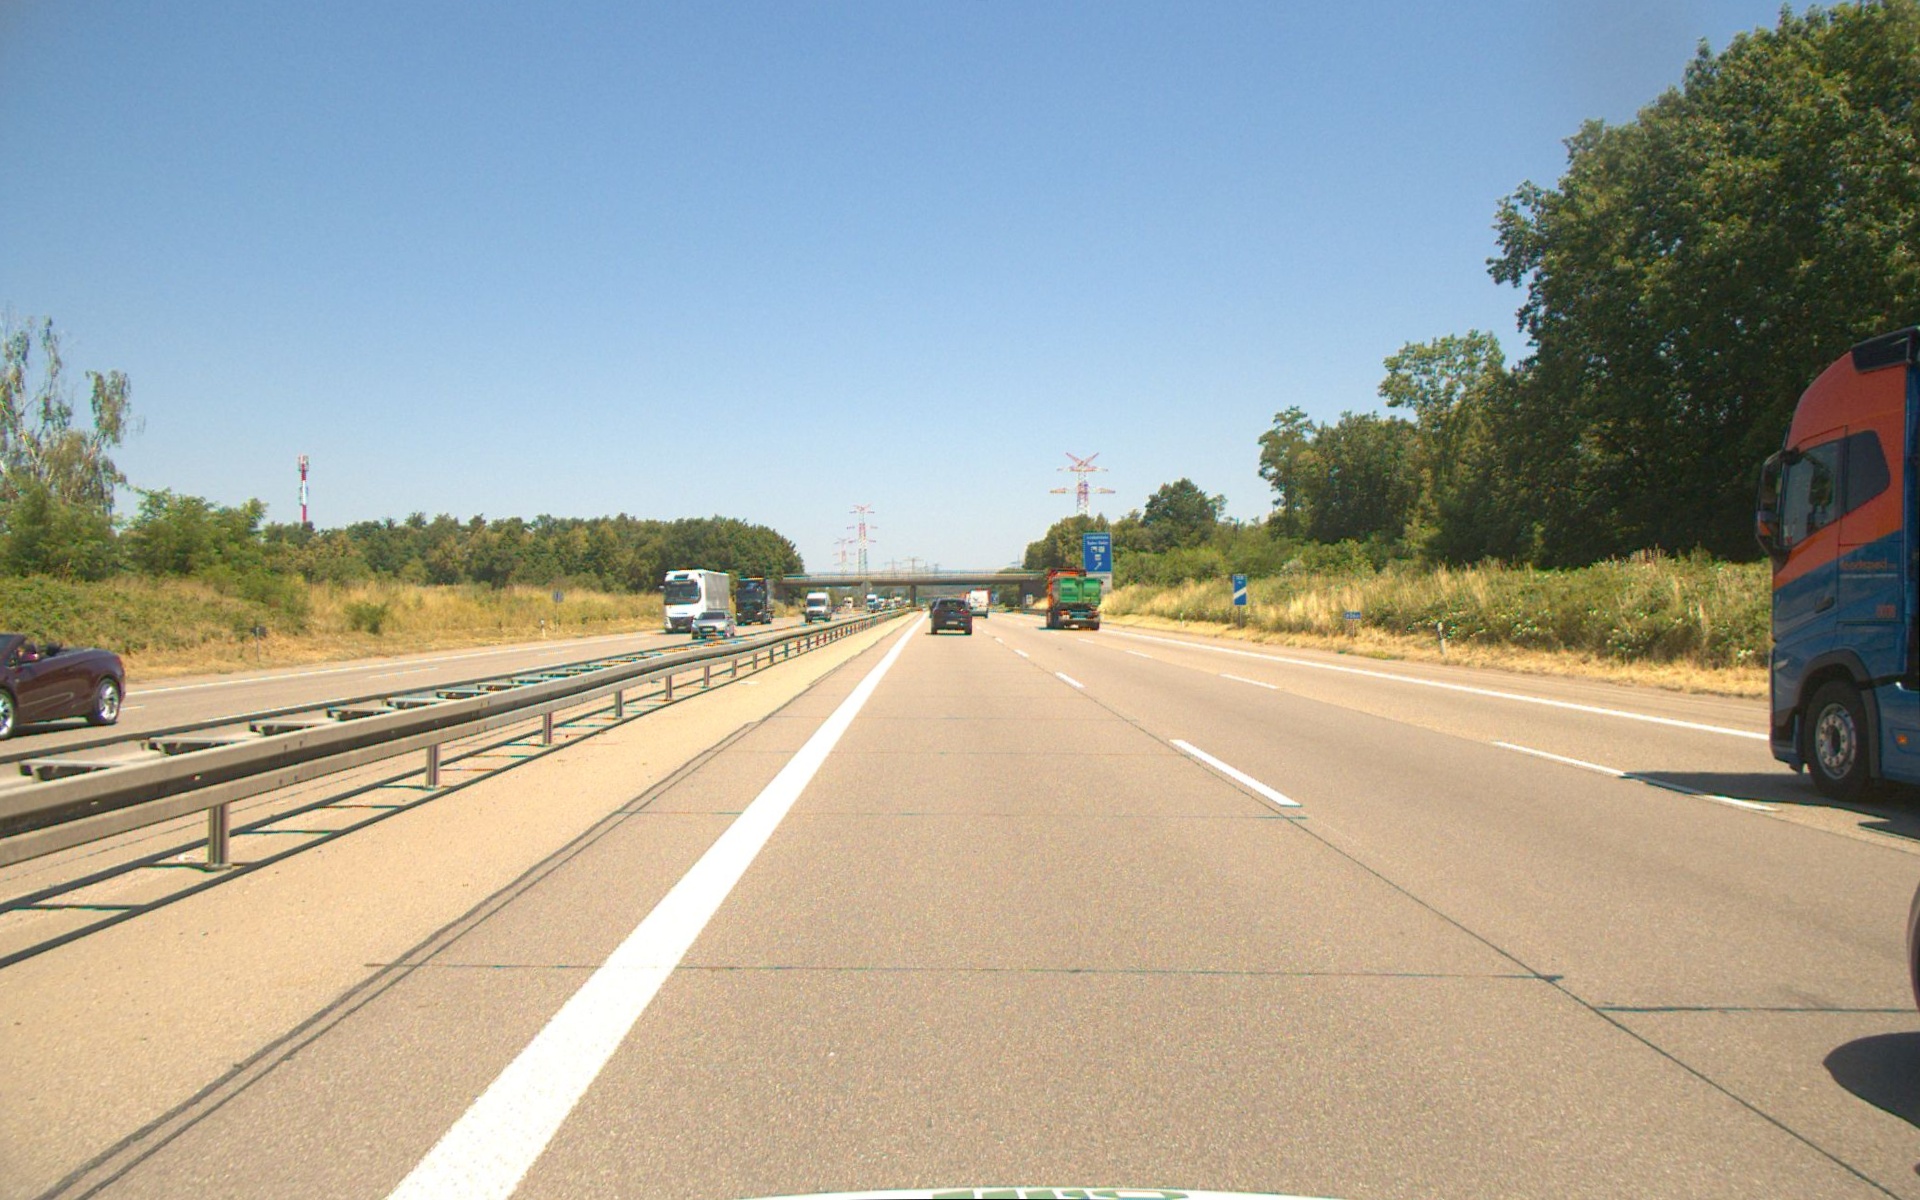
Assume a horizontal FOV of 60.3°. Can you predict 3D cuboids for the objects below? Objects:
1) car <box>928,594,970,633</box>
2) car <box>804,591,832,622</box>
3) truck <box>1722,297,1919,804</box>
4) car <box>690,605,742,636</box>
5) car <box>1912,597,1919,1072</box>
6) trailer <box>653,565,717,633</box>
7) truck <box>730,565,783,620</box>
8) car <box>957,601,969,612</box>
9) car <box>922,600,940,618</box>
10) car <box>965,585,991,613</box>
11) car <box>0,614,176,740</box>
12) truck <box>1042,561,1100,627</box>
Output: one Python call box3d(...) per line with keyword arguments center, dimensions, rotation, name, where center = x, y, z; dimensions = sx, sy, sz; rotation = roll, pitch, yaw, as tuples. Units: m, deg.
box3d(center=(-0.542, 0.644, 79.887), dimensions=(1.953, 1.780, 3.999), rotation=(1, 0, -1), name="car")
box3d(center=(-12.624, 0.541, 147.196), dimensions=(1.953, 2.615, 6.389), rotation=(-3, 0, -1), name="car")
box3d(center=(8.421, -0.356, 12.425), dimensions=(2.478, 3.799, 6.097), rotation=(1, 0, -1), name="truck")
box3d(center=(-12.281, 1.011, 83.414), dimensions=(1.922, 1.454, 5.288), rotation=(-2, 0, -1), name="car")
box3d(center=(3.996, 0.759, 3.201), dimensions=(1.765, 1.509, 4.270), rotation=(1, 0, -2), name="car")
box3d(center=(-18.234, -0.051, 109.917), dimensions=(3.091, 4.271, 6.324), rotation=(-3, 0, -1), name="trailer")
box3d(center=(-18.544, -0.624, 151.624), dimensions=(3.308, 4.705, 12.184), rotation=(-3, 0, -1), name="truck")
box3d(center=(0.453, 0.966, 258.617), dimensions=(1.711, 1.662, 4.003), rotation=(1, 0, -1), name="car")
box3d(center=(-2.945, 0.872, 169.239), dimensions=(1.758, 1.780, 3.999), rotation=(1, 0, -1), name="car")
box3d(center=(1.820, -0.128, 172.209), dimensions=(2.568, 2.807, 6.095), rotation=(1, 0, -1), name="car")
box3d(center=(-13.163, 1.027, 23.148), dimensions=(1.922, 1.552, 5.288), rotation=(-2, 0, -1), name="car")
box3d(center=(6.912, -0.353, 104.663), dimensions=(2.626, 3.864, 12.476), rotation=(1, 0, -1), name="truck")
